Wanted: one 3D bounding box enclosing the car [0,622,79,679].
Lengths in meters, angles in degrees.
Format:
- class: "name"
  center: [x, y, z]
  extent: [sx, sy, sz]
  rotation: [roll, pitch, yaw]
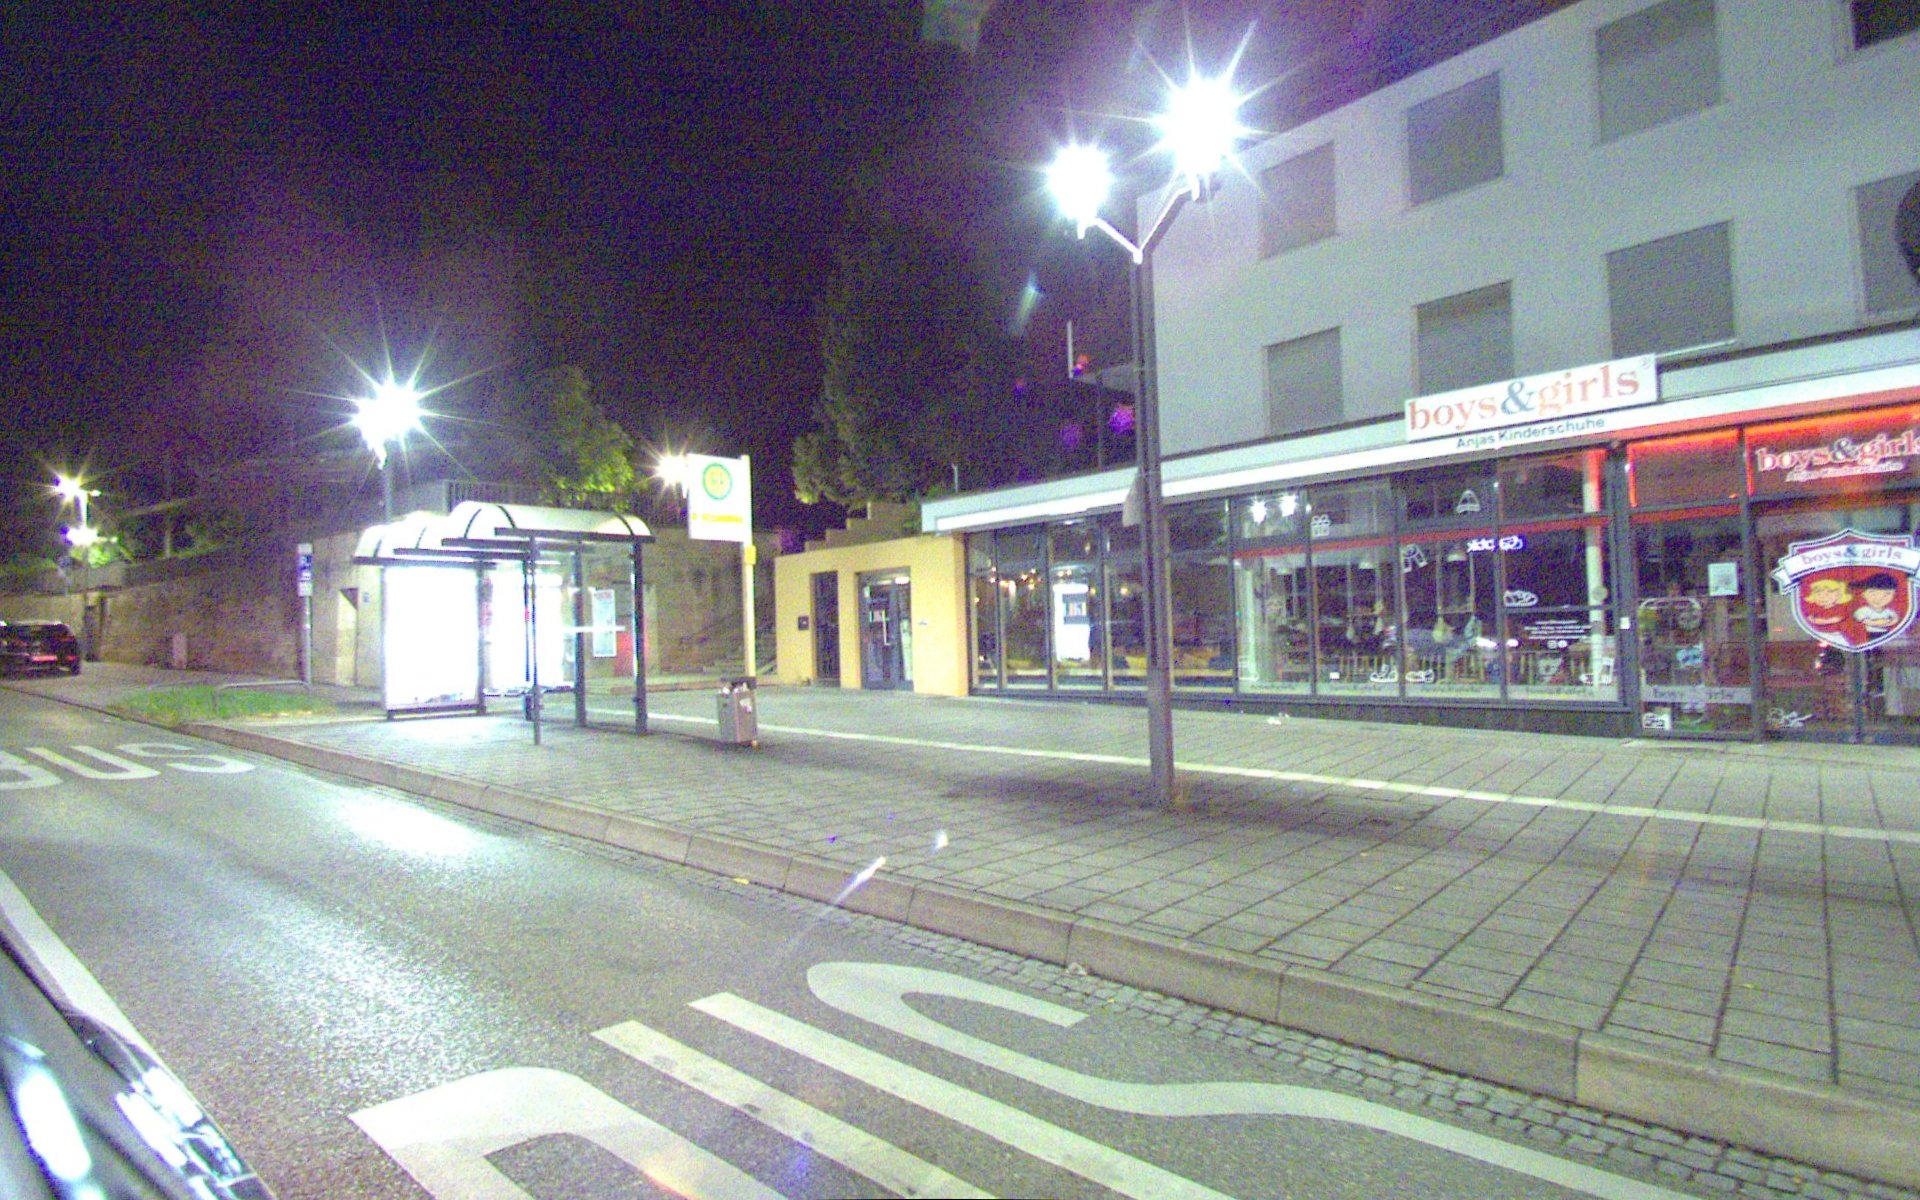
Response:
- class: "car"
  center: [-26.624, 1.395, 28.757]
  extent: [4.123, 1.447, 1.675]
  rotation: [-1, 0, 39]
